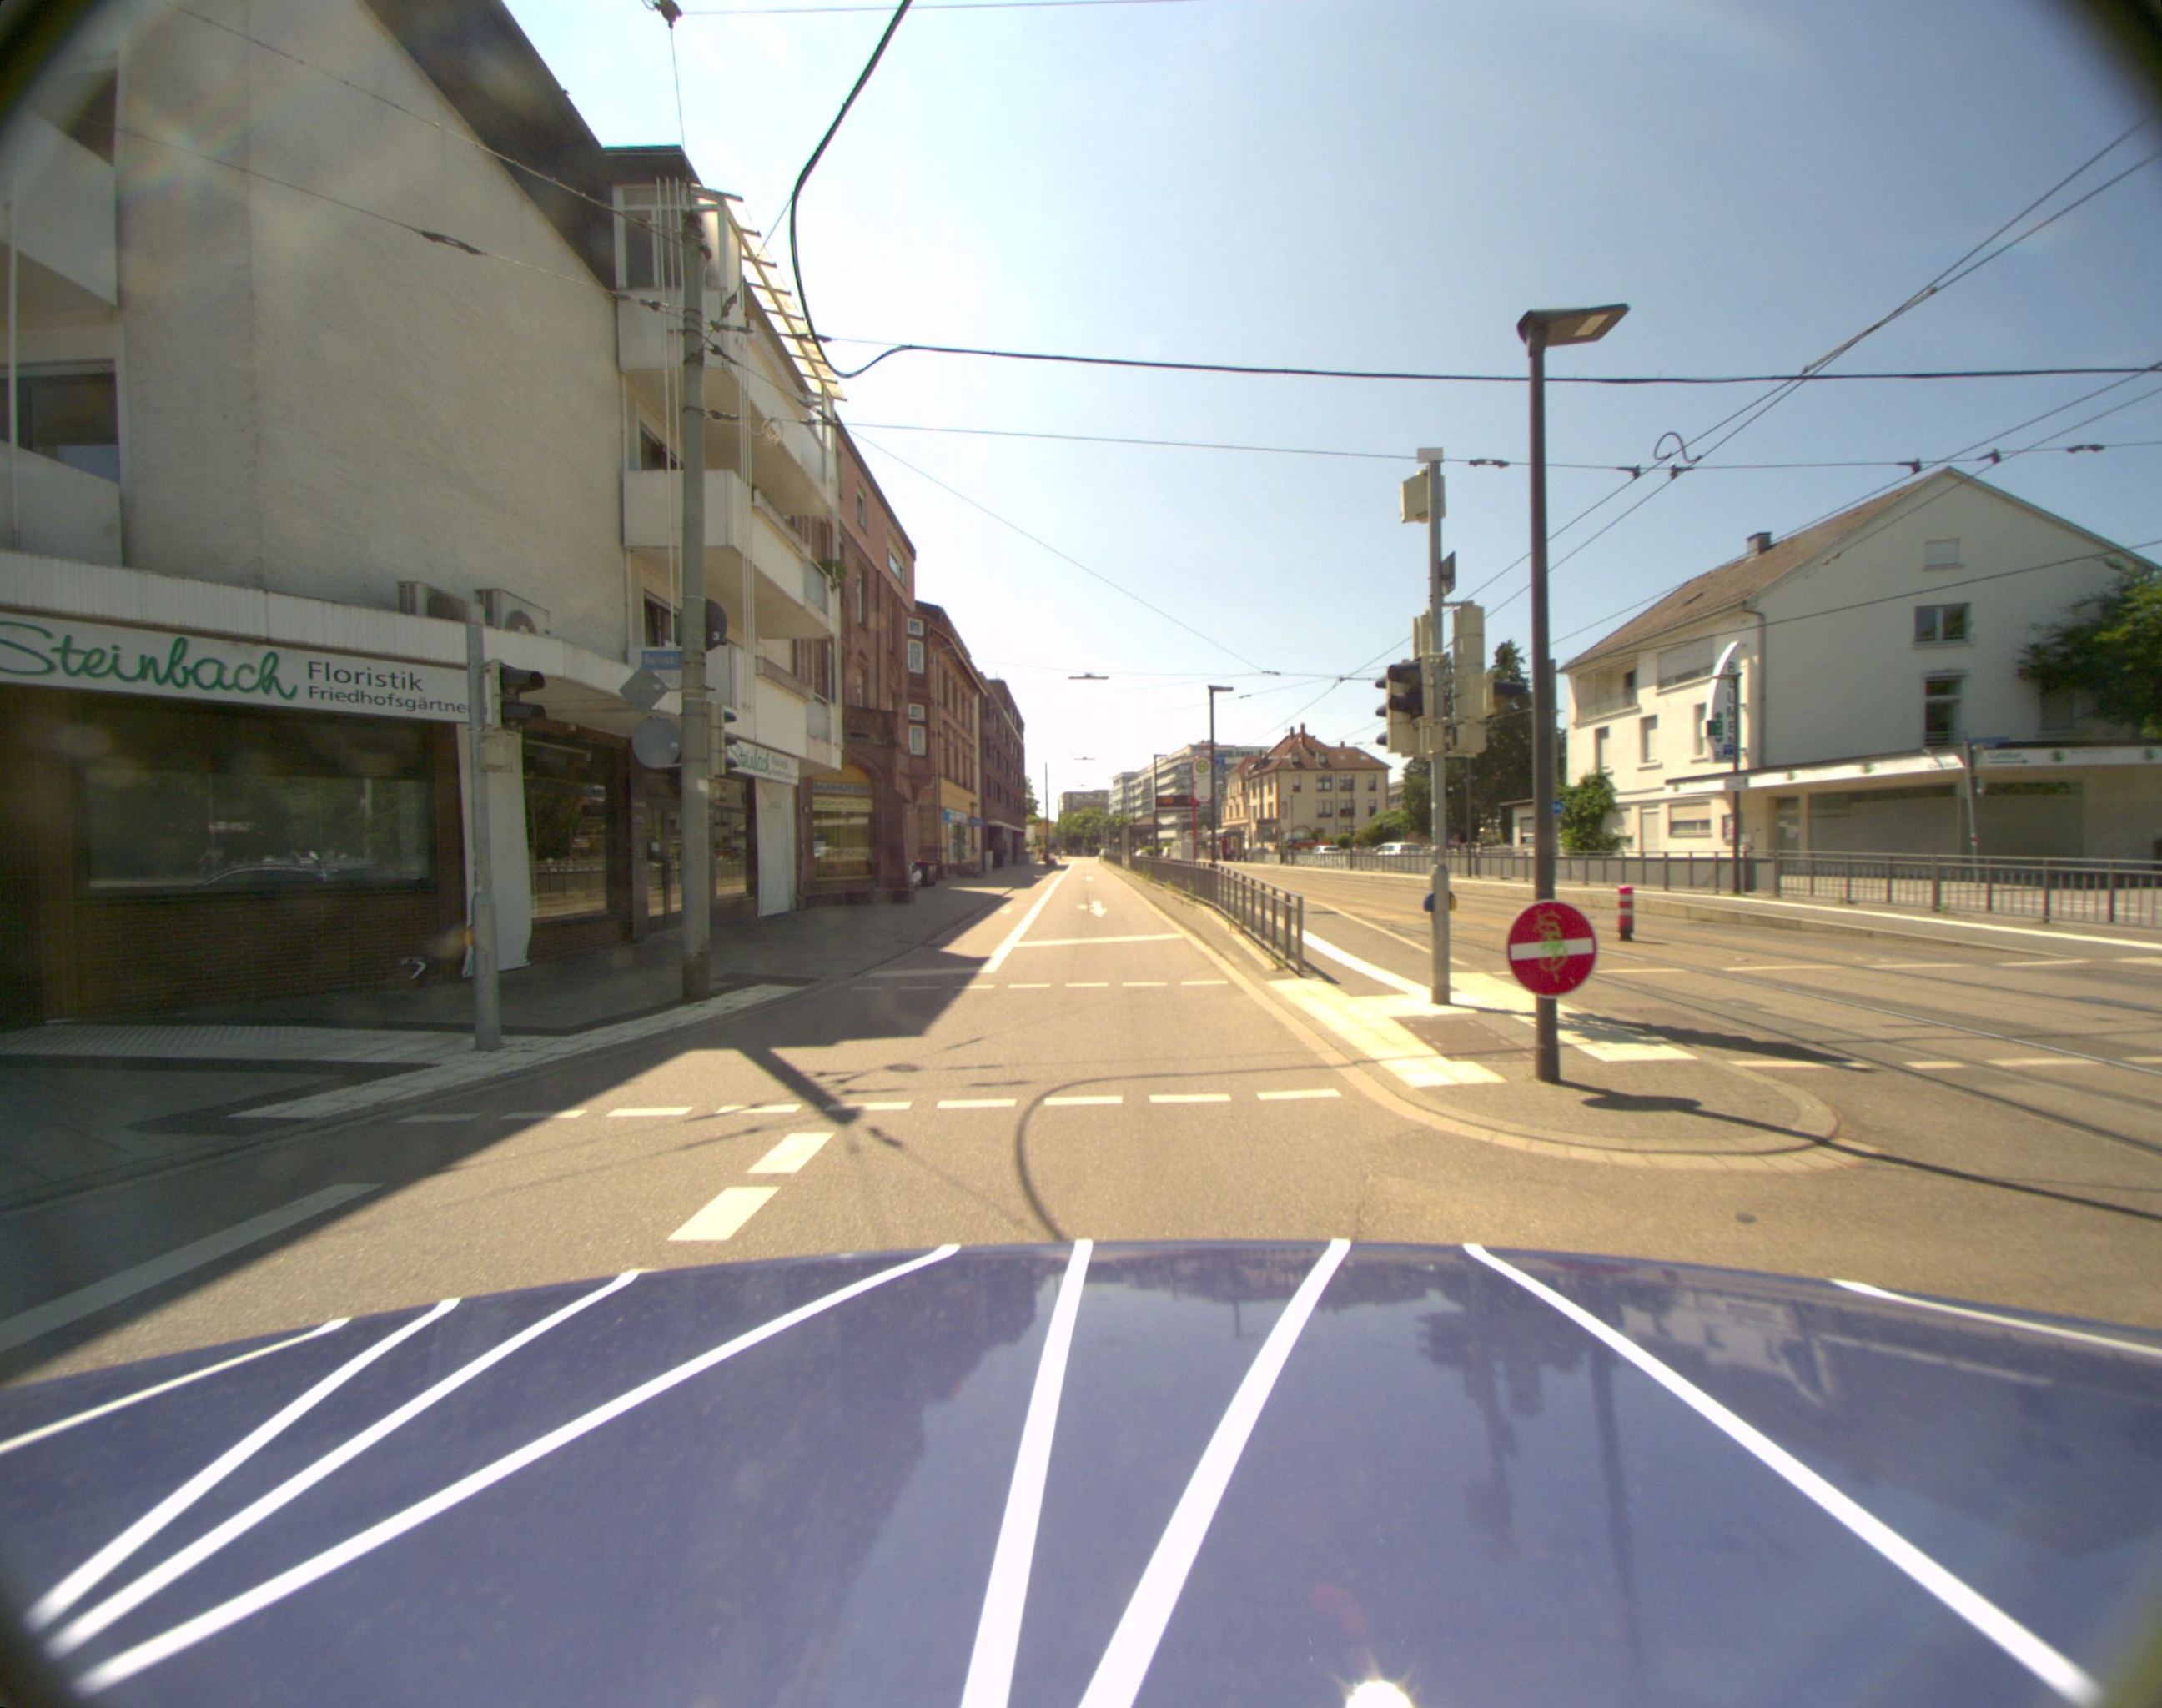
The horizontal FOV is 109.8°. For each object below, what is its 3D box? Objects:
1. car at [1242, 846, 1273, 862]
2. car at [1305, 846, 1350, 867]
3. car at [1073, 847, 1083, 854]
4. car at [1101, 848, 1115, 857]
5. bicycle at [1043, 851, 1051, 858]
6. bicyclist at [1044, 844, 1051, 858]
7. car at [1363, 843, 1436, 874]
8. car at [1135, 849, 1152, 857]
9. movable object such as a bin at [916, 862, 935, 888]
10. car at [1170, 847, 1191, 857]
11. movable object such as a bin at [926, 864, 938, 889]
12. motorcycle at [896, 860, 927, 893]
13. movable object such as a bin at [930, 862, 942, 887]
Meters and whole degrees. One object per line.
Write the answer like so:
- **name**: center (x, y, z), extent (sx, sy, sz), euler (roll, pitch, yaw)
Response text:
- **car**: center (16.892, -0.007, 72.920), extent (1.861, 1.433, 4.477), euler (-1, 0, -1)
- **car**: center (17.010, 0.140, 52.603), extent (1.822, 1.355, 4.051), euler (-1, 1, 2)
- **car**: center (-0.767, -0.827, 201.440), extent (2.001, 1.827, 3.995), euler (-1, 1, -12)
- **car**: center (5.604, -0.319, 159.592), extent (1.862, 1.806, 4.693), euler (-1, 0, -12)
- **bicycle**: center (-4.010, 0.103, 90.072), extent (0.689, 0.793, 1.908), euler (-1, 0, 5)
- **bicyclist**: center (-4.008, -0.373, 90.344), extent (0.671, 1.712, 0.928), euler (-1, 1, 5)
- **car**: center (16.330, 0.207, 39.208), extent (1.823, 1.481, 4.498), euler (-1, 1, -1)
- **car**: center (10.839, -0.167, 132.536), extent (1.824, 1.459, 4.619), euler (-1, 0, -10)
- **movable object such as a bin**: center (-6.409, 0.864, 31.255), extent (0.649, 1.042, 0.559), euler (1, 1, 0)
- **car**: center (14.348, -0.358, 109.800), extent (1.824, 1.387, 4.171), euler (-1, 1, -10)
- **movable object such as a bin**: center (-6.244, 0.936, 31.831), extent (0.376, 1.042, 0.559), euler (1, 1, 0)
- **motorcycle**: center (-6.239, 0.823, 28.041), extent (0.528, 1.142, 1.880), euler (-1, 1, 5)
- **movable object such as a bin**: center (-6.184, 0.876, 32.479), extent (0.376, 1.042, 0.657), euler (1, 1, 0)
